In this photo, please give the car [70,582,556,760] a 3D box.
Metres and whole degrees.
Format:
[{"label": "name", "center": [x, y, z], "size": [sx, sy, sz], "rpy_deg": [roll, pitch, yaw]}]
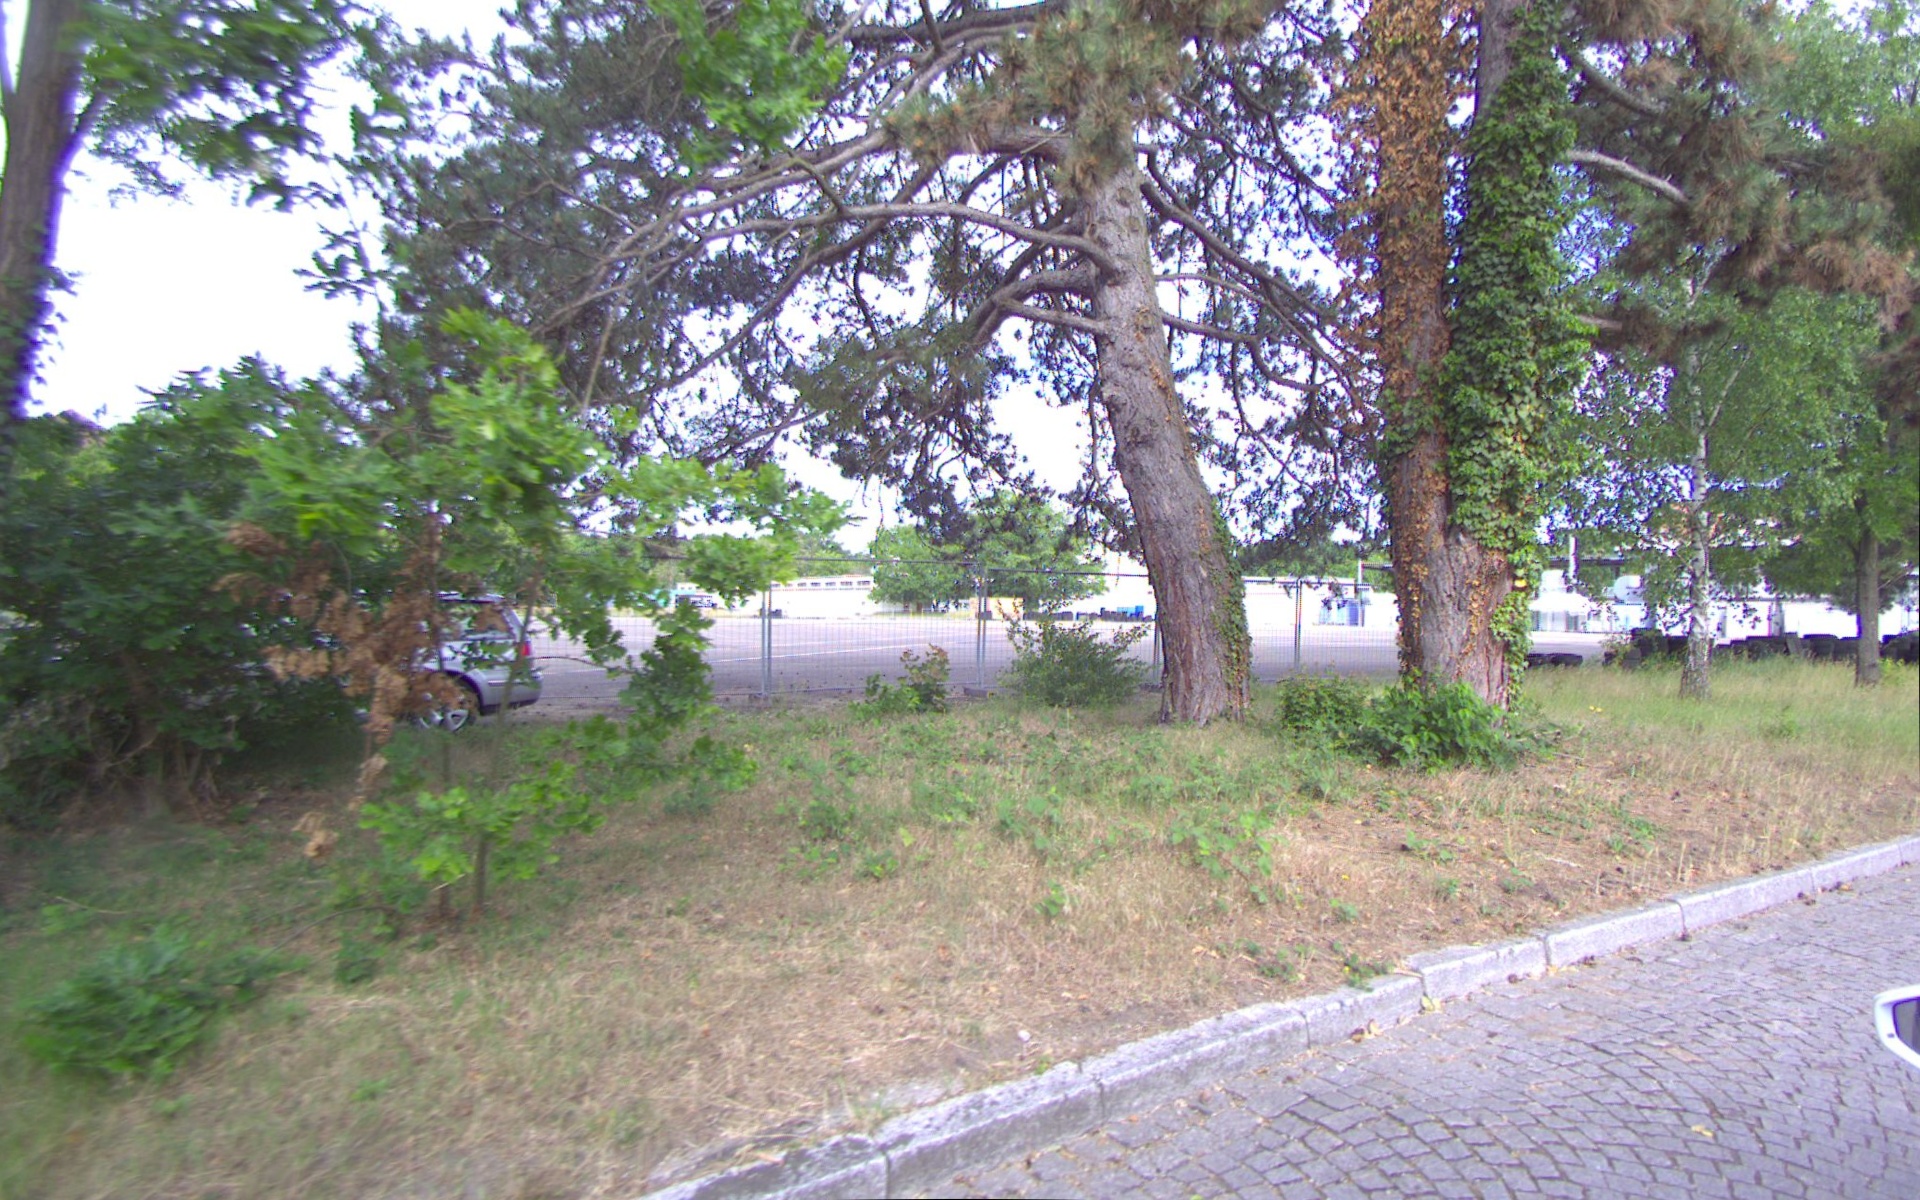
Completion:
[{"label": "car", "center": [-6.062, 0.603, 9.794], "size": [3.685, 1.429, 1.655], "rpy_deg": [1, 0, -34]}]
